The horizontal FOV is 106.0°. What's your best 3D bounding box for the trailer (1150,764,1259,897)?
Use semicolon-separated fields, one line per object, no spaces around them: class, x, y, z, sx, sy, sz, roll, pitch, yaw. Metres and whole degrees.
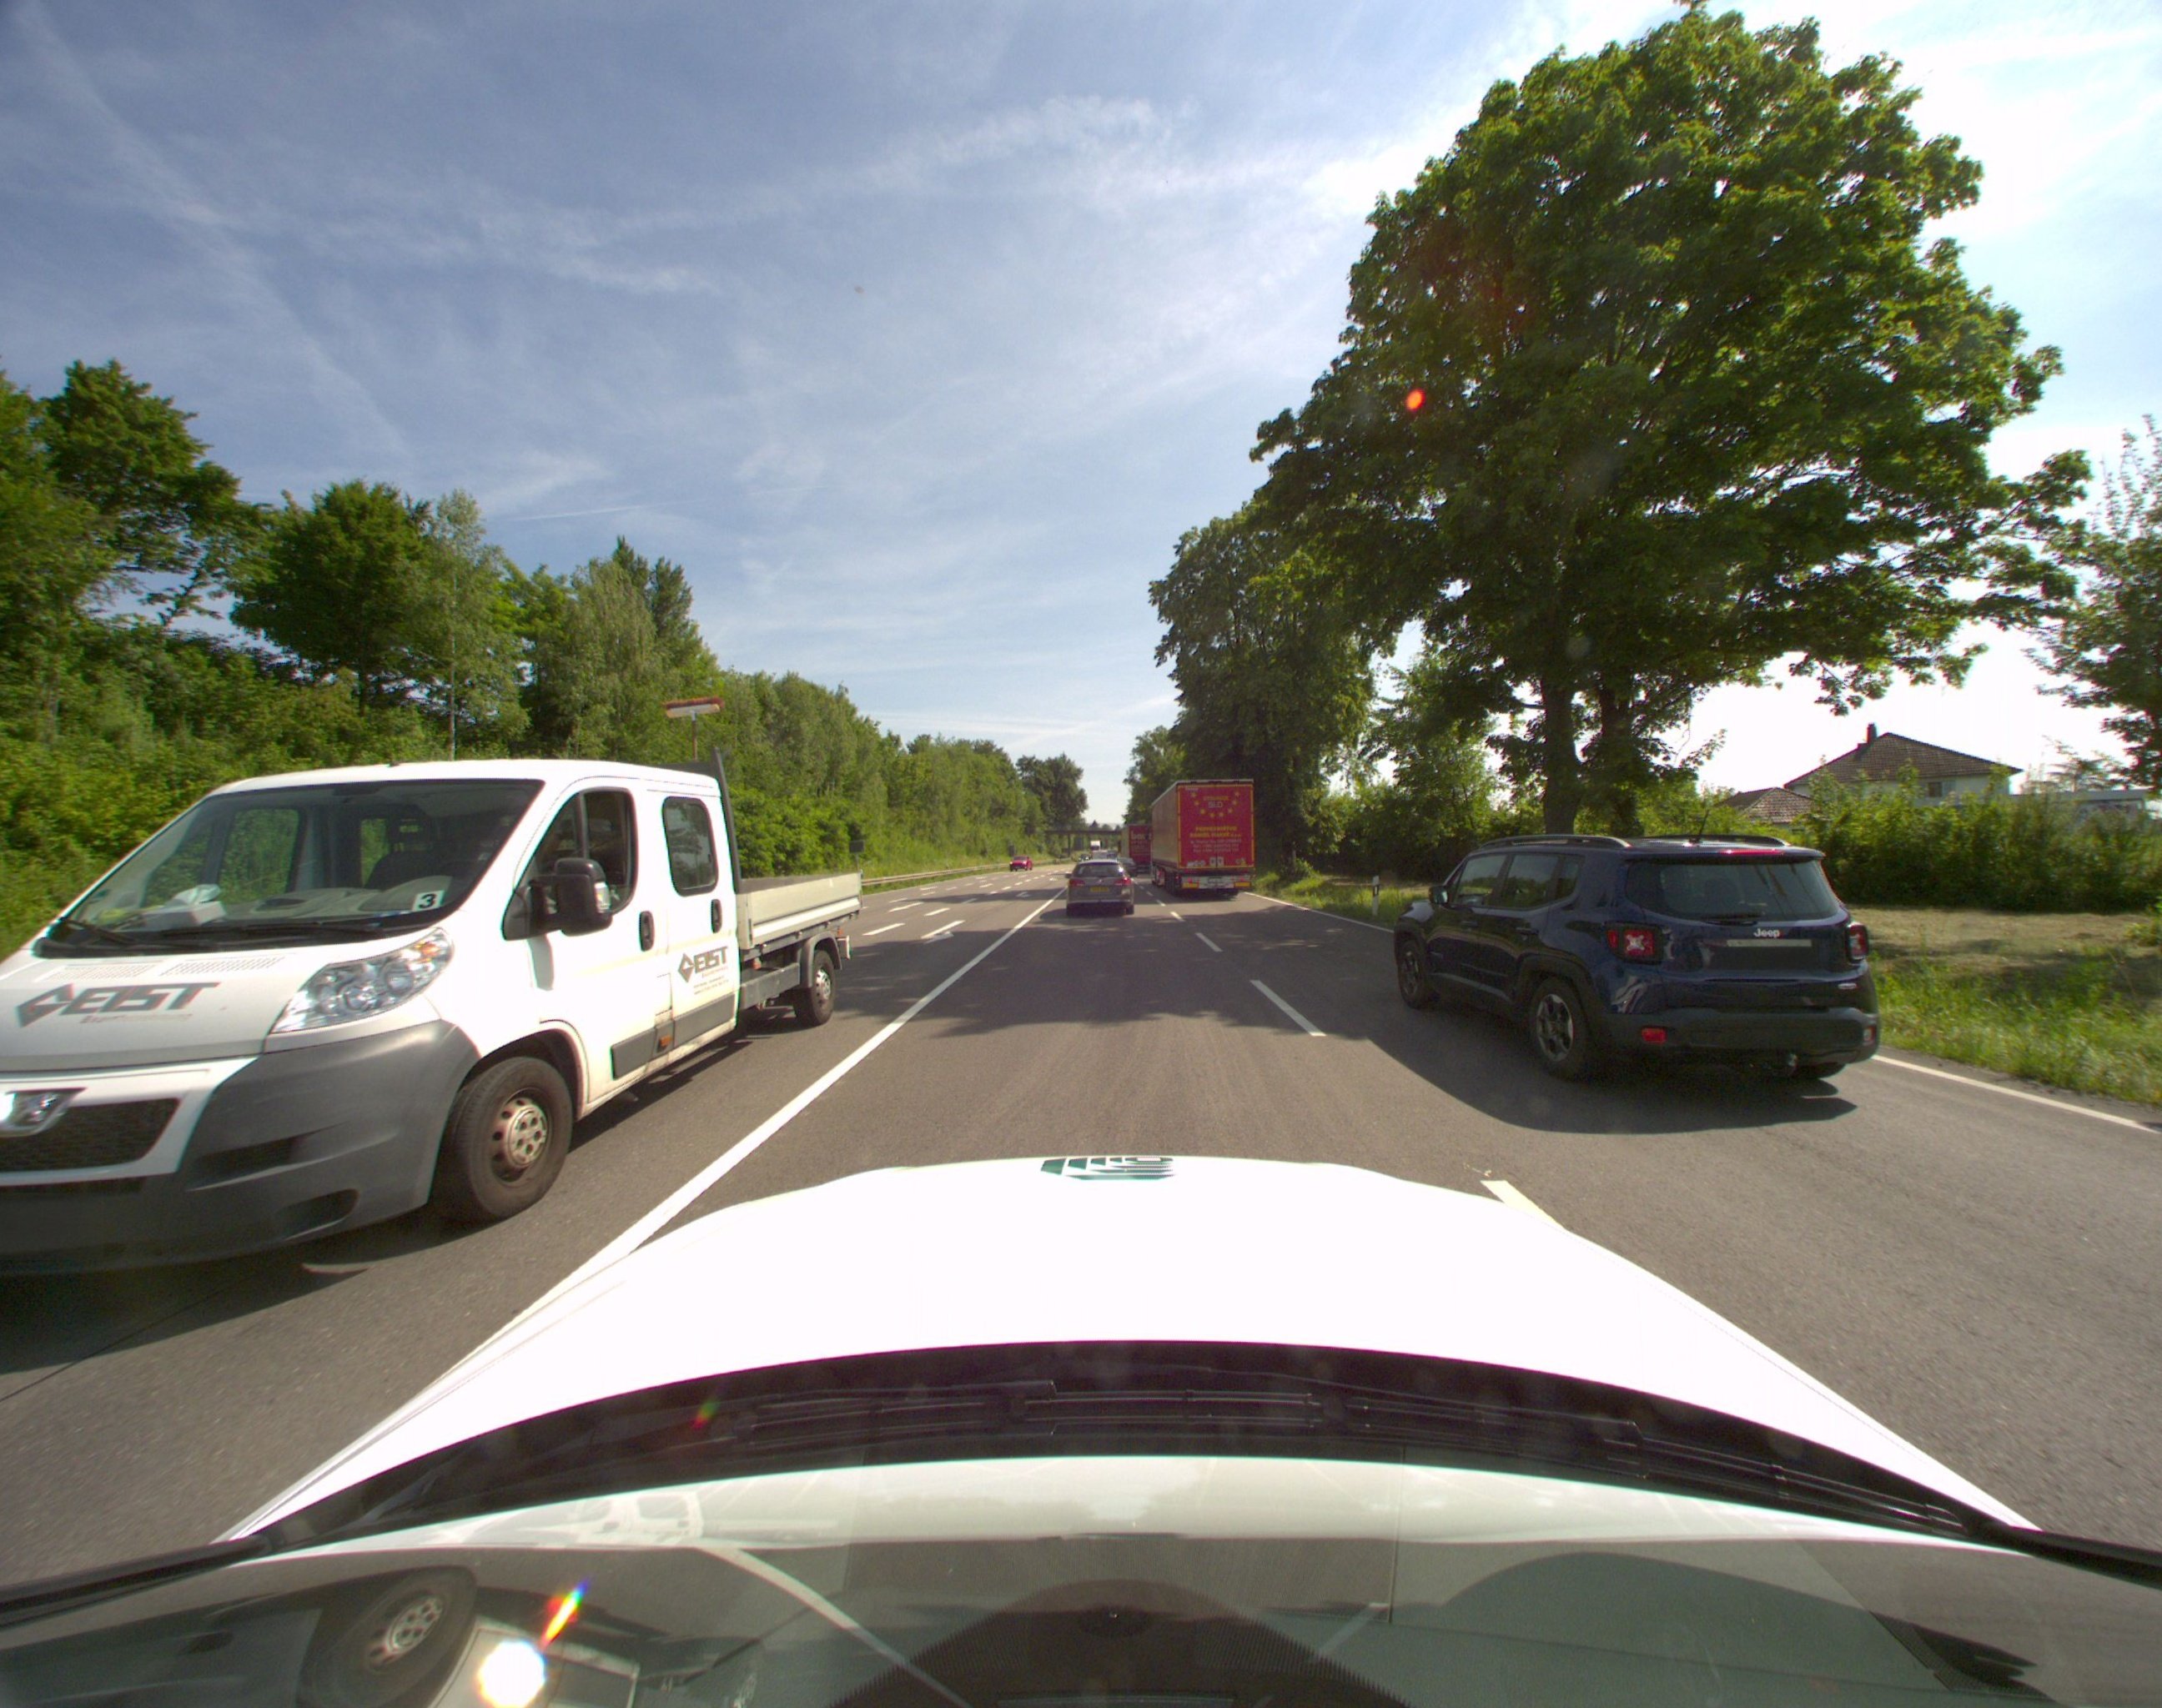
trailer;4.638;-0.718;33.486;2.829;4.365;13.171;0;-1;2

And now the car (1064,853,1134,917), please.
car;0.489;0.786;22.295;1.685;1.513;4.001;-2;-1;1

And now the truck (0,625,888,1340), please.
truck;-3.436;0.464;5.895;2.218;2.268;6.503;-2;-1;2

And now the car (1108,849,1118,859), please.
car;6.632;0.037;170.339;1.986;2.014;4.001;-2;-1;1

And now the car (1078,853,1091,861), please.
car;0.674;0.529;142.490;1.954;1.415;4.005;-2;-1;5

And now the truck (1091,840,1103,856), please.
truck;3.970;-1.519;207.478;2.764;3.931;9.467;-2;-1;1

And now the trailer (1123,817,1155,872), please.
trailer;5.061;-0.715;71.720;2.385;4.243;13.089;-2;-1;3

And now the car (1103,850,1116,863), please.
car;4.482;0.406;130.456;1.986;2.014;4.001;-2;-1;1

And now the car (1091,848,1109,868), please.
car;1.956;0.409;85.061;1.764;1.936;3.978;-2;-1;1

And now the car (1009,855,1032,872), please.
car;-6.621;1.053;89.357;1.966;1.796;4.810;-2;-1;1

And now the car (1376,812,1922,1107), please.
car;4.039;0.635;6.763;1.764;1.654;4.001;-2;-1;1

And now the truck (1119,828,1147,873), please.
truck;5.016;-0.326;78.394;2.396;4.128;5.526;-2;-1;3

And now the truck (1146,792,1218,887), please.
truck;4.801;-0.641;39.726;2.860;4.281;5.840;0;-1;1

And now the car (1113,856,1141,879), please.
car;3.251;0.967;57.848;1.764;1.513;4.001;-2;-1;1
